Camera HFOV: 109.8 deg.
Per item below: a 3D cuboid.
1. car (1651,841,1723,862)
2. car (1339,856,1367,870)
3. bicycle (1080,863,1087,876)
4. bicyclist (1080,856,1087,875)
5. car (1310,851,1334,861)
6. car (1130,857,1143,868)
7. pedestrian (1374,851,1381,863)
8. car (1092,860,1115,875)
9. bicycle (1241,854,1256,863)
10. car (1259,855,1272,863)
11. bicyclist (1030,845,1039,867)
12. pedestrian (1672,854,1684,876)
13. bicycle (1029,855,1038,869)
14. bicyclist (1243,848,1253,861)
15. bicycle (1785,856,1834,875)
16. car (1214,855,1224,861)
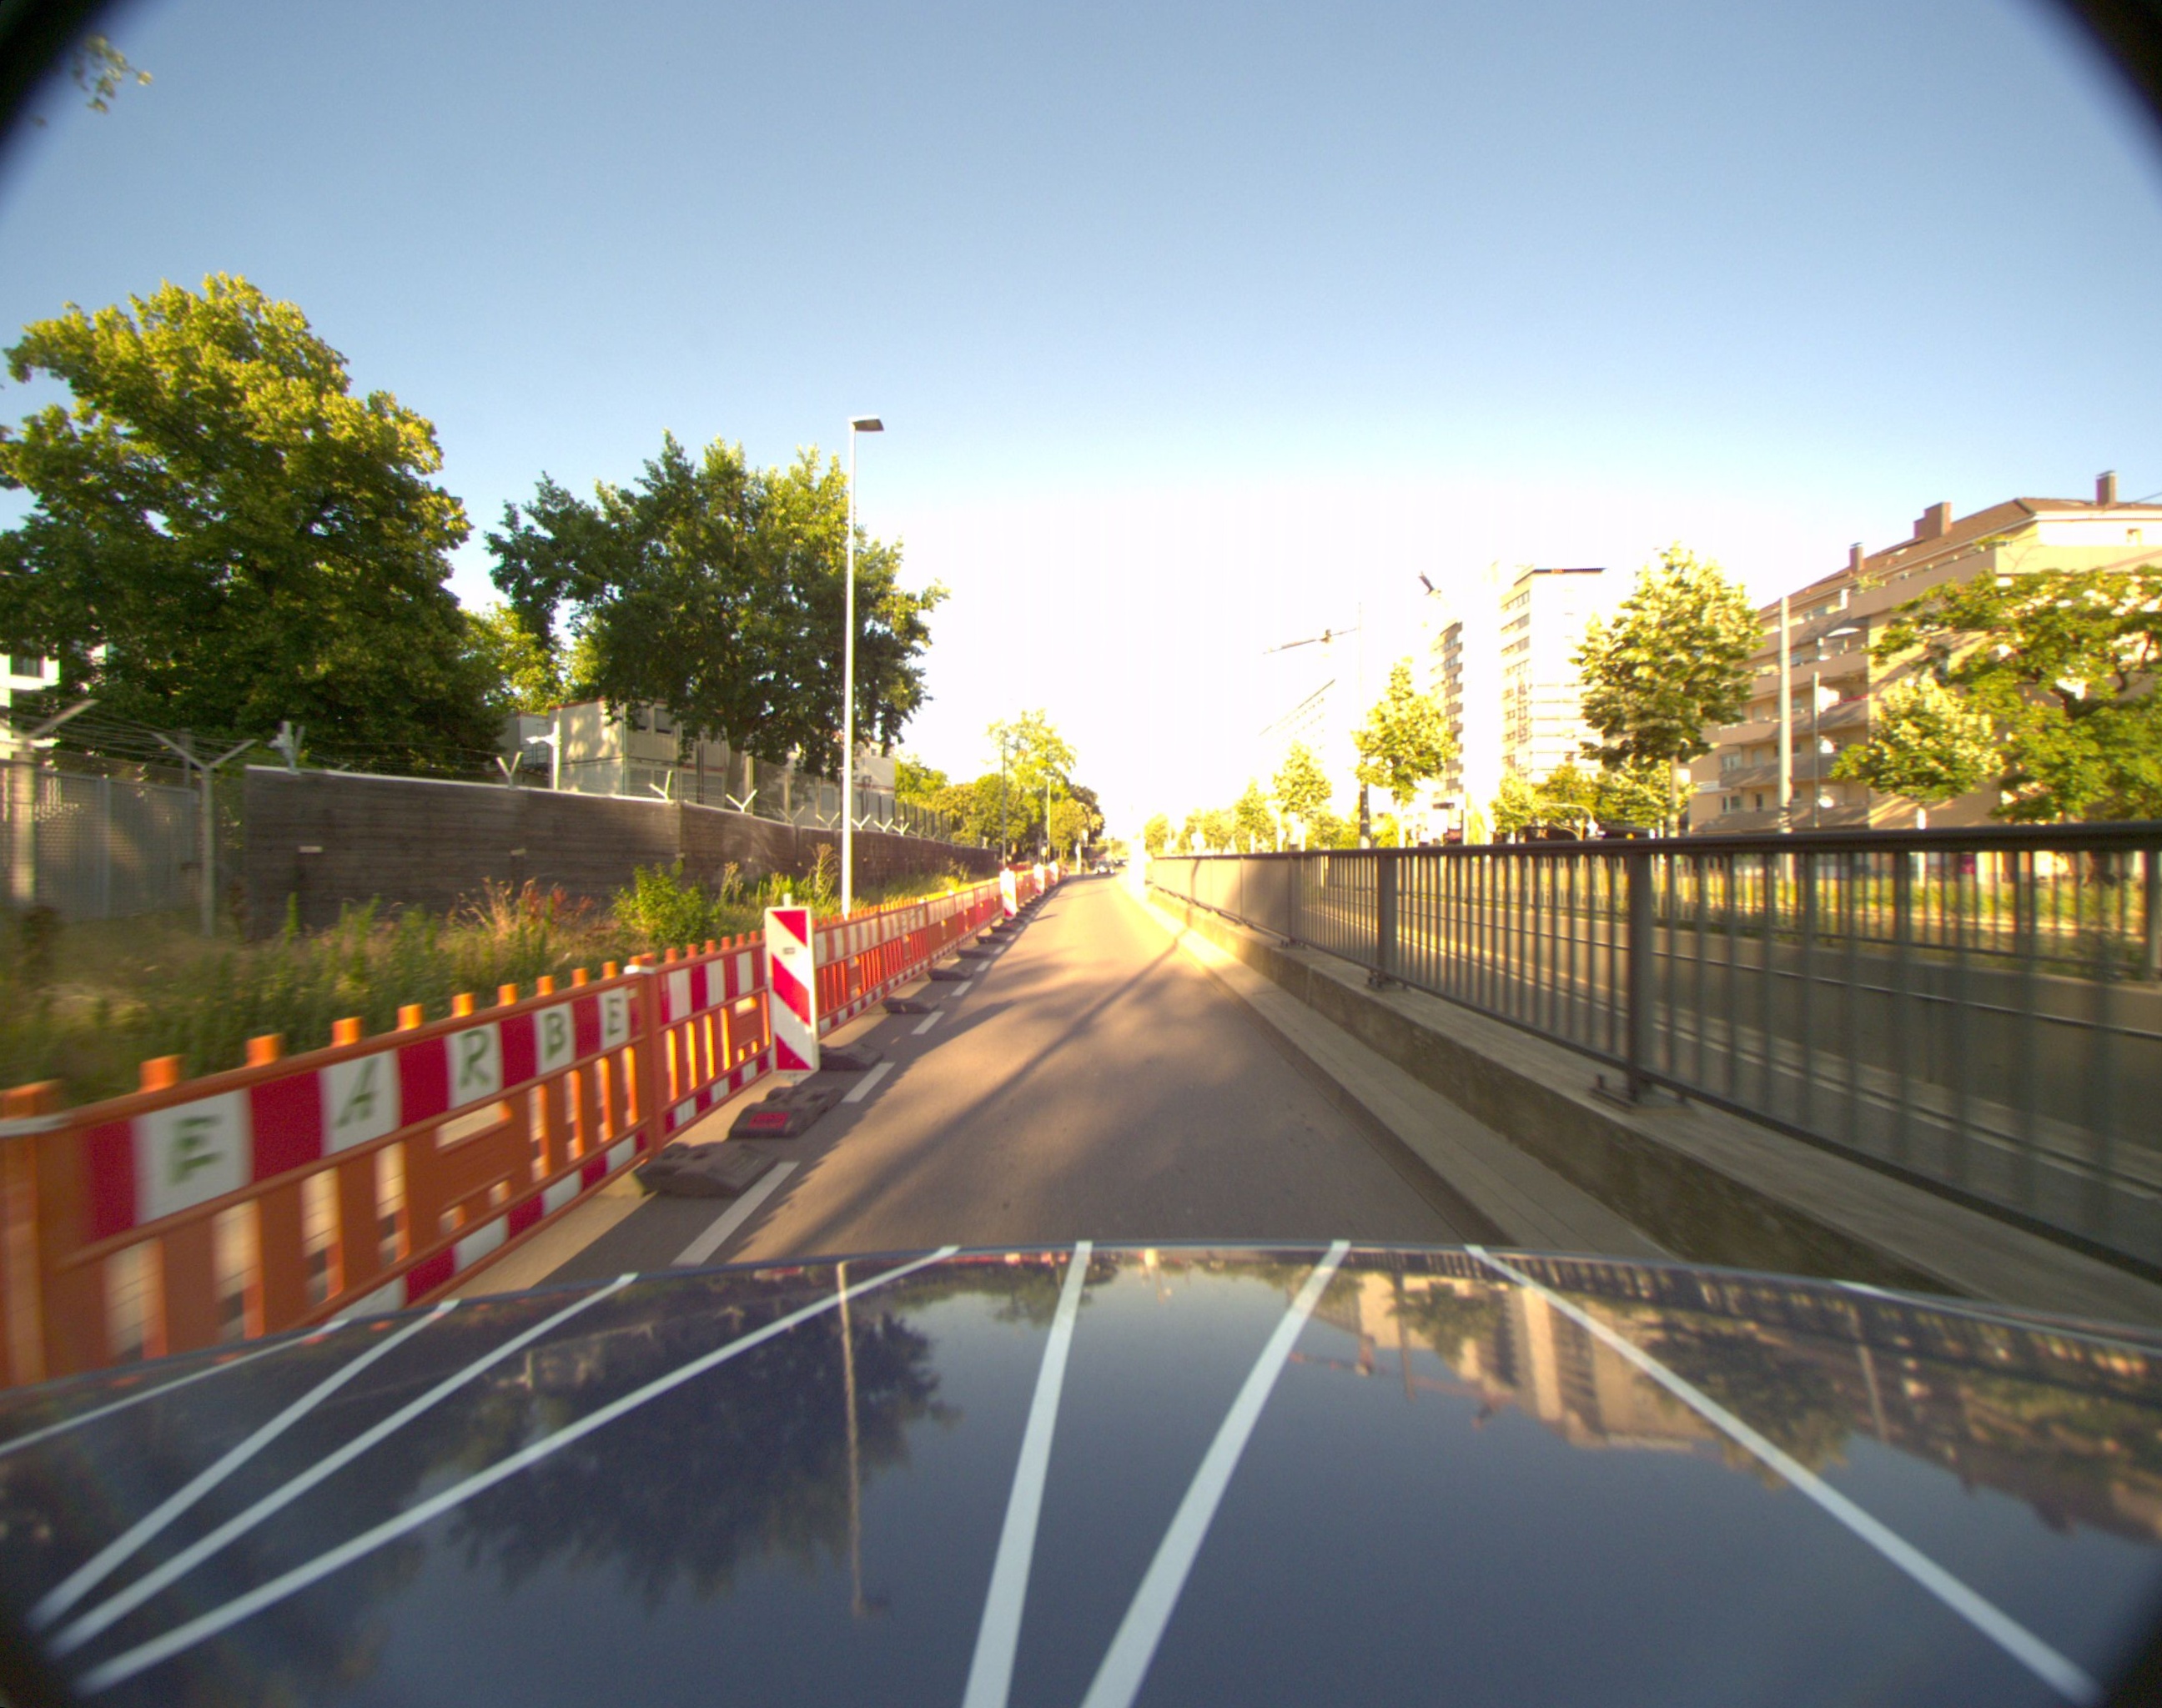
[{"bbox_3d":[46.120,-0.212,57.862,3.997,1.488,1.847,-1,1,1],"label":"car"},{"bbox_3d":[37.358,1.224,104.427,4.204,1.681,1.617,-3,1,-39],"label":"car"},{"bbox_3d":[0.193,1.199,58.870,0.506,1.018,1.505,-1,0,2],"label":"bicycle"},{"bbox_3d":[0.178,0.883,58.866,0.516,1.399,0.805,0,0,1],"label":"bicyclist"},{"bbox_3d":[37.241,0.281,117.396,3.809,1.436,1.785,-3,1,-43],"label":"car"},{"bbox_3d":[7.707,1.148,105.832,1.591,1.448,4.001,0,0,2],"label":"car"},{"bbox_3d":[42.680,0.409,109.357,0.776,1.630,0.882,-1,1,1],"label":"pedestrian"},{"bbox_3d":[2.111,1.258,72.355,1.999,1.346,3.999,-1,0,-2],"label":"car"},{"bbox_3d":[18.092,0.478,82.259,0.507,0.886,2.027,-1,0,-22],"label":"bicycle"},{"bbox_3d":[38.737,0.990,159.720,1.874,1.457,3.390,-2,0,2],"label":"car"},{"bbox_3d":[-3.468,0.146,56.383,0.585,1.605,0.903,-1,1,1],"label":"bicyclist"},{"bbox_3d":[42.033,0.777,53.464,0.448,1.546,0.521,-1,1,1],"label":"pedestrian"},{"bbox_3d":[-3.527,0.579,56.321,0.428,1.055,1.911,-1,0,2],"label":"bicycle"},{"bbox_3d":[18.010,0.096,82.122,0.737,1.386,0.715,-1,0,-23],"label":"bicyclist"},{"bbox_3d":[43.824,0.659,45.733,0.532,1.130,2.586,-1,0,2],"label":"bicycle"},{"bbox_3d":[34.467,0.875,189.496,1.780,1.455,4.662,-1,0,1],"label":"car"}]
